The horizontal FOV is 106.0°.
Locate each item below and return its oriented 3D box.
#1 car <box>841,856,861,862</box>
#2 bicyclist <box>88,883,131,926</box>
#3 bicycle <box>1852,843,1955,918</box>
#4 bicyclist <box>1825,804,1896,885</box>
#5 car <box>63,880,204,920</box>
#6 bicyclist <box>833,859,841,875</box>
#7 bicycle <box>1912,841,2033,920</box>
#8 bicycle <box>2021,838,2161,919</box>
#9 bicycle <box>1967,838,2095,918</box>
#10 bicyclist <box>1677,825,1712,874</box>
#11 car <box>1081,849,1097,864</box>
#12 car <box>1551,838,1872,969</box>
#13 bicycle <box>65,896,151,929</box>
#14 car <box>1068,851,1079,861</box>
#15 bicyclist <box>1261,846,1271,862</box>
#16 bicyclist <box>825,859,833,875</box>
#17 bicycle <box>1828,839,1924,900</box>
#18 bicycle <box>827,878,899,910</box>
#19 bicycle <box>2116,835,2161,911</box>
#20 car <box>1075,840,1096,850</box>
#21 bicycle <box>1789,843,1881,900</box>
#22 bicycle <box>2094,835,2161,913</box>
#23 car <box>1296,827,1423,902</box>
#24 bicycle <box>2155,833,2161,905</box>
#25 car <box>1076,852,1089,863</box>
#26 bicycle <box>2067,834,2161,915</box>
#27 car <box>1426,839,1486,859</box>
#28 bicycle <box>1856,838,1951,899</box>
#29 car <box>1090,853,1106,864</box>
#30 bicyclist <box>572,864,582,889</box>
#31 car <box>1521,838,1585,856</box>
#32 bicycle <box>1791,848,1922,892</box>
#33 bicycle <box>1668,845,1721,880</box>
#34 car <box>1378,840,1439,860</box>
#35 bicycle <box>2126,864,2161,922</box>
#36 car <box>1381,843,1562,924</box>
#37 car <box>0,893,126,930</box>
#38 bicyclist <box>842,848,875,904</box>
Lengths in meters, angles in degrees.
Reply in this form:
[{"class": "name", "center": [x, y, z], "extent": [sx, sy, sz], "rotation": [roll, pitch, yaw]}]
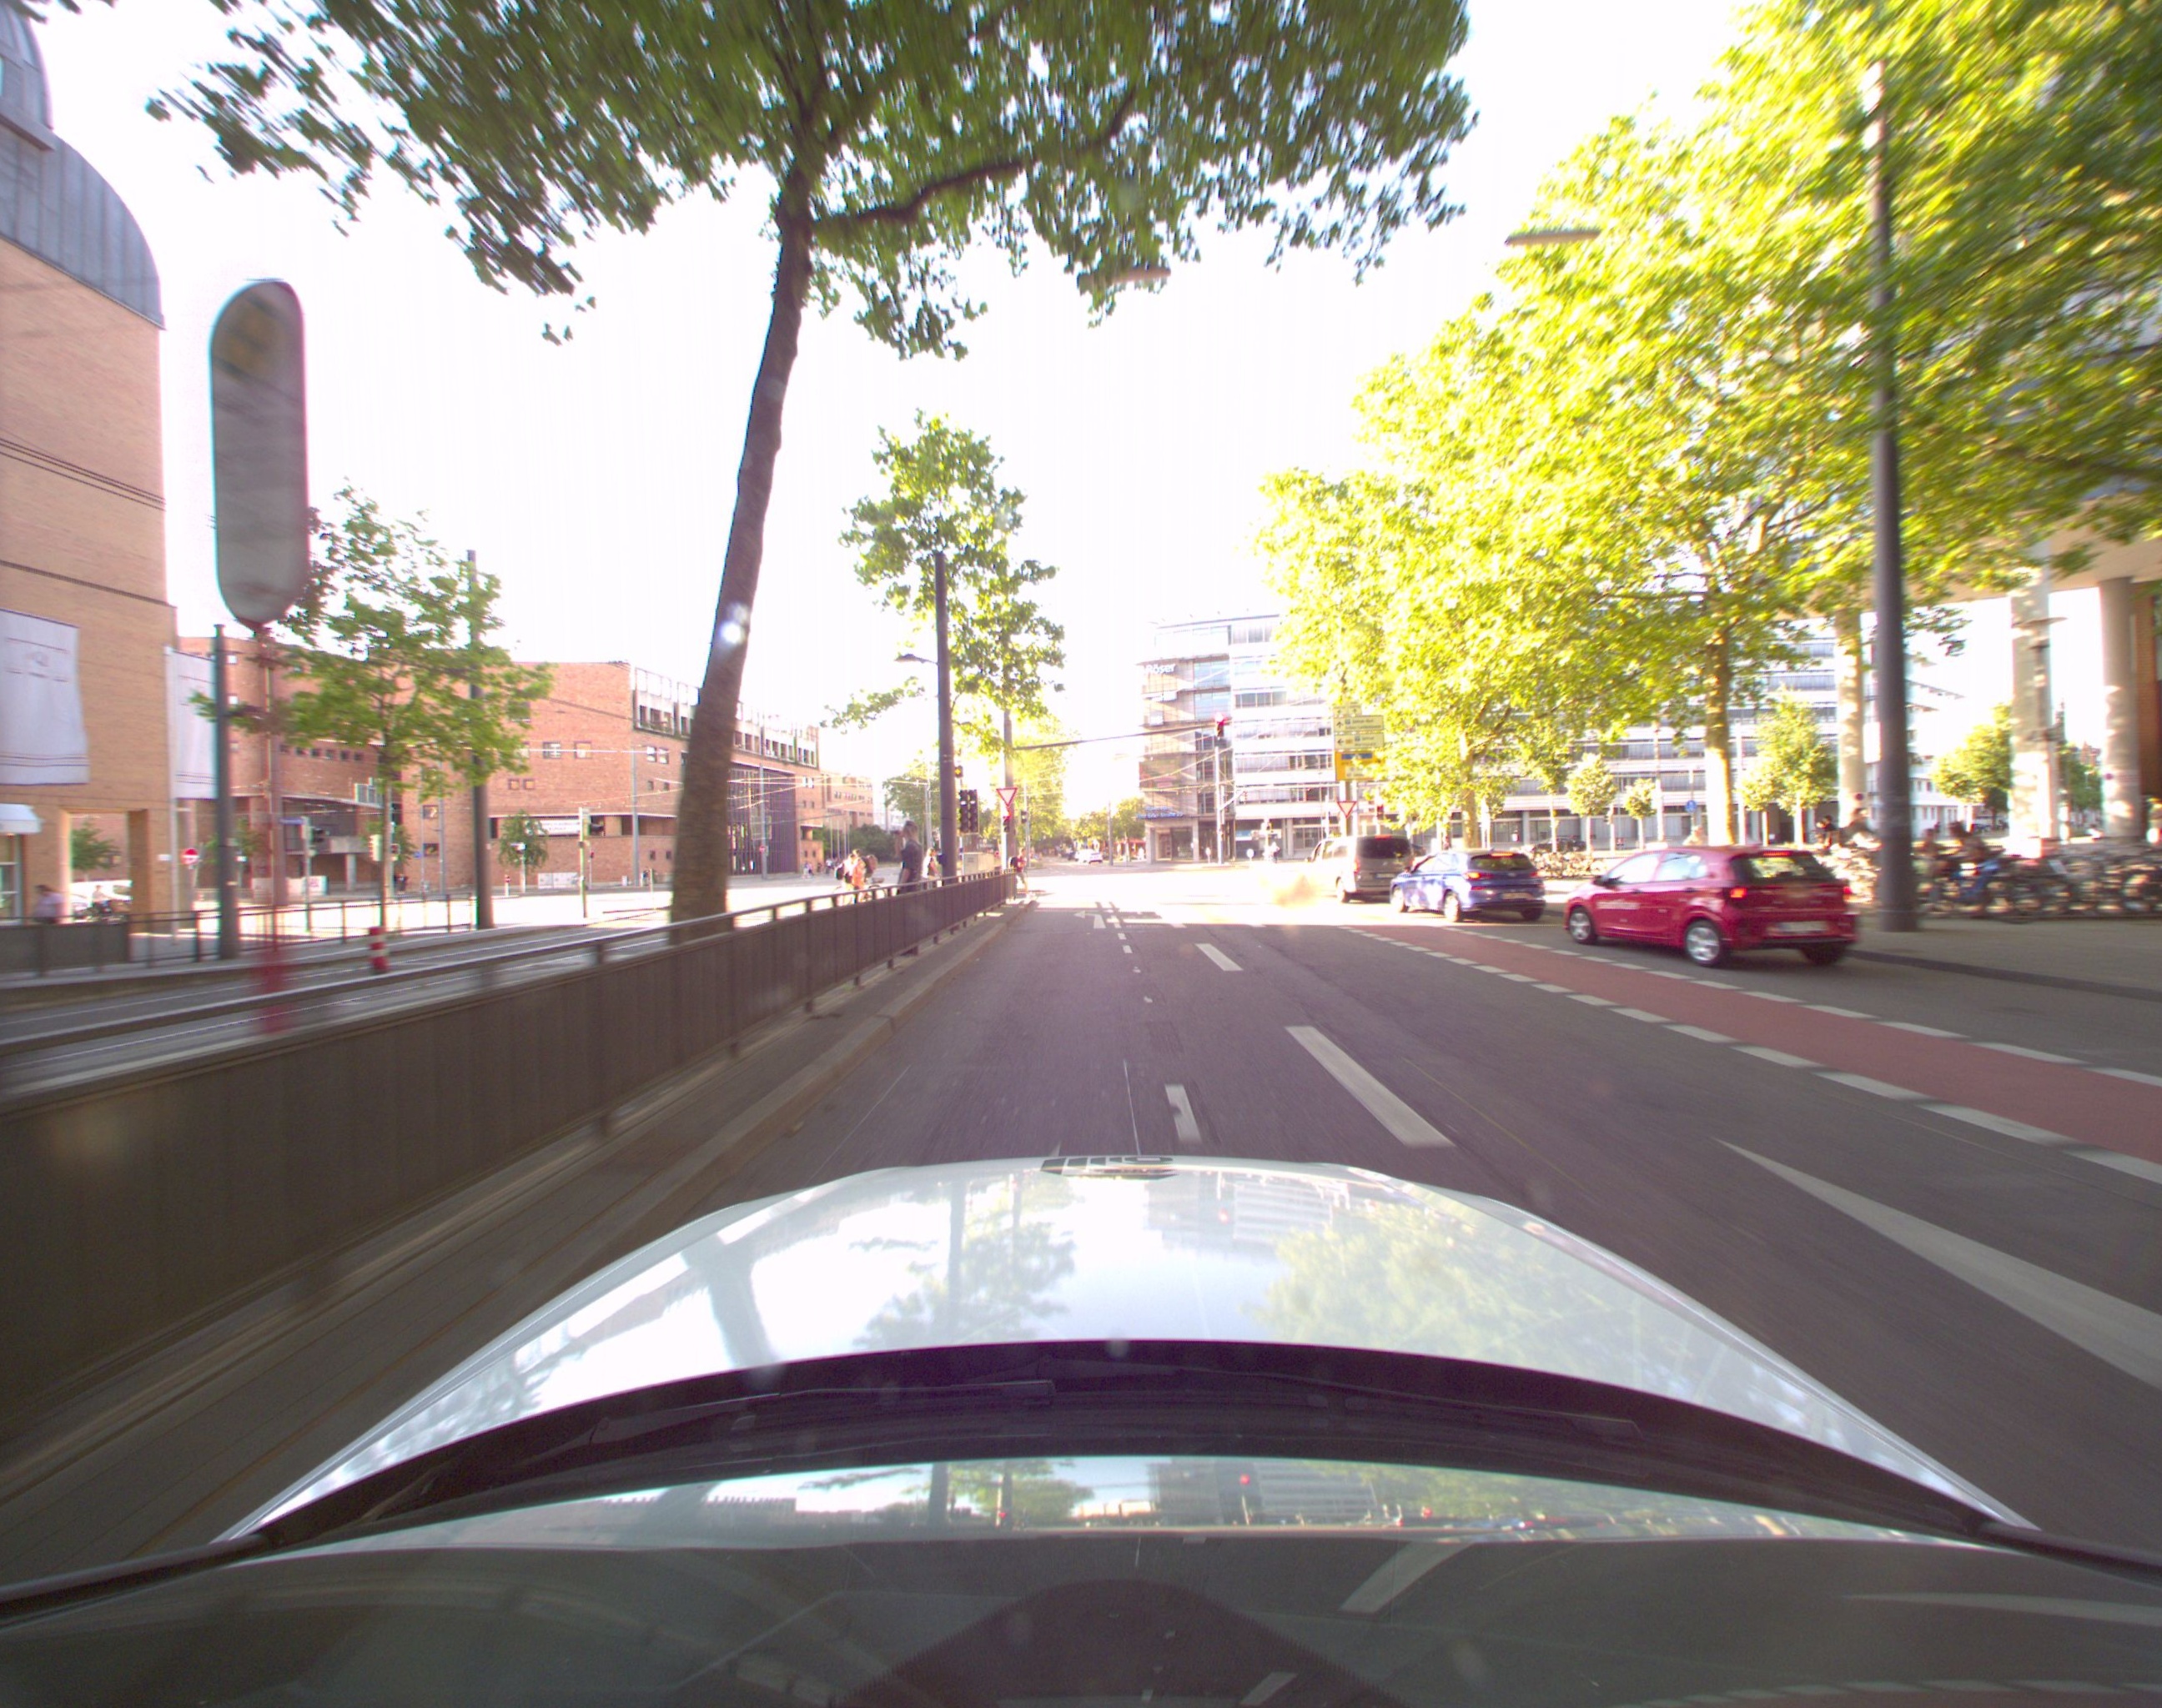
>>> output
[{"class": "car", "center": [-52.463, 1.141, 185.925], "extent": [4.014, 1.552, 1.591], "rotation": [0, -1, -32]}, {"class": "bicyclist", "center": [-40.141, 2.069, 33.651], "extent": [0.902, 1.681, 0.690], "rotation": [-2, 0, -3]}, {"class": "bicycle", "center": [13.274, 0.392, 13.205], "extent": [0.590, 1.116, 1.837], "rotation": [-2, 0, 27]}, {"class": "bicyclist", "center": [17.732, -0.207, 18.543], "extent": [0.750, 1.767, 0.849], "rotation": [-2, 0, -11]}, {"class": "car", "center": [-47.873, 2.285, 41.236], "extent": [4.343, 1.696, 1.995], "rotation": [-2, 0, -8]}, {"class": "bicyclist", "center": [-26.232, 1.360, 87.598], "extent": [0.592, 1.675, 0.788], "rotation": [-2, 0, -7]}, {"class": "bicycle", "center": [13.771, 0.376, 12.649], "extent": [0.590, 1.116, 1.961], "rotation": [-2, 0, 27]}, {"class": "bicycle", "center": [15.026, 0.329, 12.170], "extent": [0.601, 1.116, 1.837], "rotation": [-2, 0, 27]}, {"class": "bicycle", "center": [14.434, 0.334, 12.439], "extent": [0.590, 1.116, 1.837], "rotation": [-2, 0, 27]}, {"class": "bicyclist", "center": [20.705, -0.152, 27.504], "extent": [0.559, 1.616, 0.823], "rotation": [-2, 0, 6]}, {"class": "car", "center": [1.118, 0.352, 111.925], "extent": [1.988, 1.991, 3.998], "rotation": [-2, 0, -1]}, {"class": "car", "center": [8.259, 0.560, 11.129], "extent": [1.554, 1.464, 3.620], "rotation": [-1, 0, -1]}, {"class": "bicycle", "center": [-40.175, 2.408, 33.653], "extent": [2.152, 1.226, 1.072], "rotation": [-2, 1, -3]}, {"class": "car", "center": [-1.317, 0.375, 148.968], "extent": [1.988, 1.662, 3.998], "rotation": [-2, 0, -1]}, {"class": "bicyclist", "center": [17.124, -0.001, 75.316], "extent": [0.815, 1.366, 0.401], "rotation": [-2, 0, 5]}, {"class": "bicyclist", "center": [-26.989, 1.363, 87.328], "extent": [0.592, 1.675, 0.788], "rotation": [-2, 0, -7]}, {"class": "bicycle", "center": [16.091, 0.299, 16.525], "extent": [0.419, 1.159, 1.475], "rotation": [-2, 0, -2]}, {"class": "bicycle", "center": [-7.216, 1.318, 27.026], "extent": [2.172, 0.933, 0.667], "rotation": [-2, 0, -3]}, {"class": "bicycle", "center": [16.846, 0.293, 12.293], "extent": [0.420, 1.159, 1.472], "rotation": [-2, 0, -9]}, {"class": "car", "center": [0.870, -1.783, 162.304], "extent": [3.734, 1.750, 1.788], "rotation": [0, -1, 14]}, {"class": "bicycle", "center": [15.252, 0.335, 16.521], "extent": [0.419, 1.081, 1.475], "rotation": [-2, 0, -2]}, {"class": "bicycle", "center": [16.383, 0.295, 12.202], "extent": [0.420, 1.159, 1.472], "rotation": [-2, 0, -9]}, {"class": "car", "center": [8.082, 0.275, 24.186], "extent": [1.987, 1.966, 5.136], "rotation": [0, 0, 0]}, {"class": "bicycle", "center": [17.725, 0.236, 12.490], "extent": [0.420, 1.159, 1.472], "rotation": [-2, 0, -9]}, {"class": "car", "center": [0.209, 0.491, 127.449], "extent": [1.988, 1.662, 3.998], "rotation": [-2, 0, -1]}, {"class": "bicycle", "center": [15.891, 0.297, 12.133], "extent": [0.478, 1.159, 1.472], "rotation": [-2, 0, -9]}, {"class": "car", "center": [31.695, -0.412, 68.982], "extent": [4.220, 1.560, 1.798], "rotation": [-2, 0, 5]}, {"class": "bicycle", "center": [16.706, 0.281, 16.584], "extent": [0.419, 1.159, 1.476], "rotation": [-2, 0, 0]}, {"class": "car", "center": [2.182, 0.595, 105.227], "extent": [1.988, 1.332, 3.998], "rotation": [-2, 0, -1]}, {"class": "bicyclist", "center": [-42.123, 1.868, 68.050], "extent": [0.445, 2.060, 0.566], "rotation": [-2, 0, 40]}, {"class": "car", "center": [39.650, -0.590, 68.502], "extent": [4.218, 1.392, 1.799], "rotation": [-2, 0, 6]}, {"class": "bicycle", "center": [17.729, 0.348, 18.705], "extent": [0.666, 0.933, 2.176], "rotation": [-2, 0, -11]}, {"class": "bicycle", "center": [20.730, 0.266, 27.570], "extent": [0.563, 1.126, 1.781], "rotation": [-2, 0, 6]}, {"class": "car", "center": [26.842, -0.329, 66.831], "extent": [4.222, 1.392, 1.797], "rotation": [-2, 0, 4]}, {"class": "bicycle", "center": [15.043, 0.520, 10.969], "extent": [1.098, 0.760, 0.402], "rotation": [-2, 0, 27]}, {"class": "car", "center": [8.188, 0.552, 17.575], "extent": [1.760, 1.464, 4.214], "rotation": [-2, 0, -2]}, {"class": "car", "center": [-47.642, 2.664, 37.827], "extent": [3.946, 1.456, 1.997], "rotation": [-2, 0, -5]}, {"class": "bicyclist", "center": [-7.371, 0.728, 27.018], "extent": [0.847, 1.785, 0.752], "rotation": [-2, 0, -3]}]
